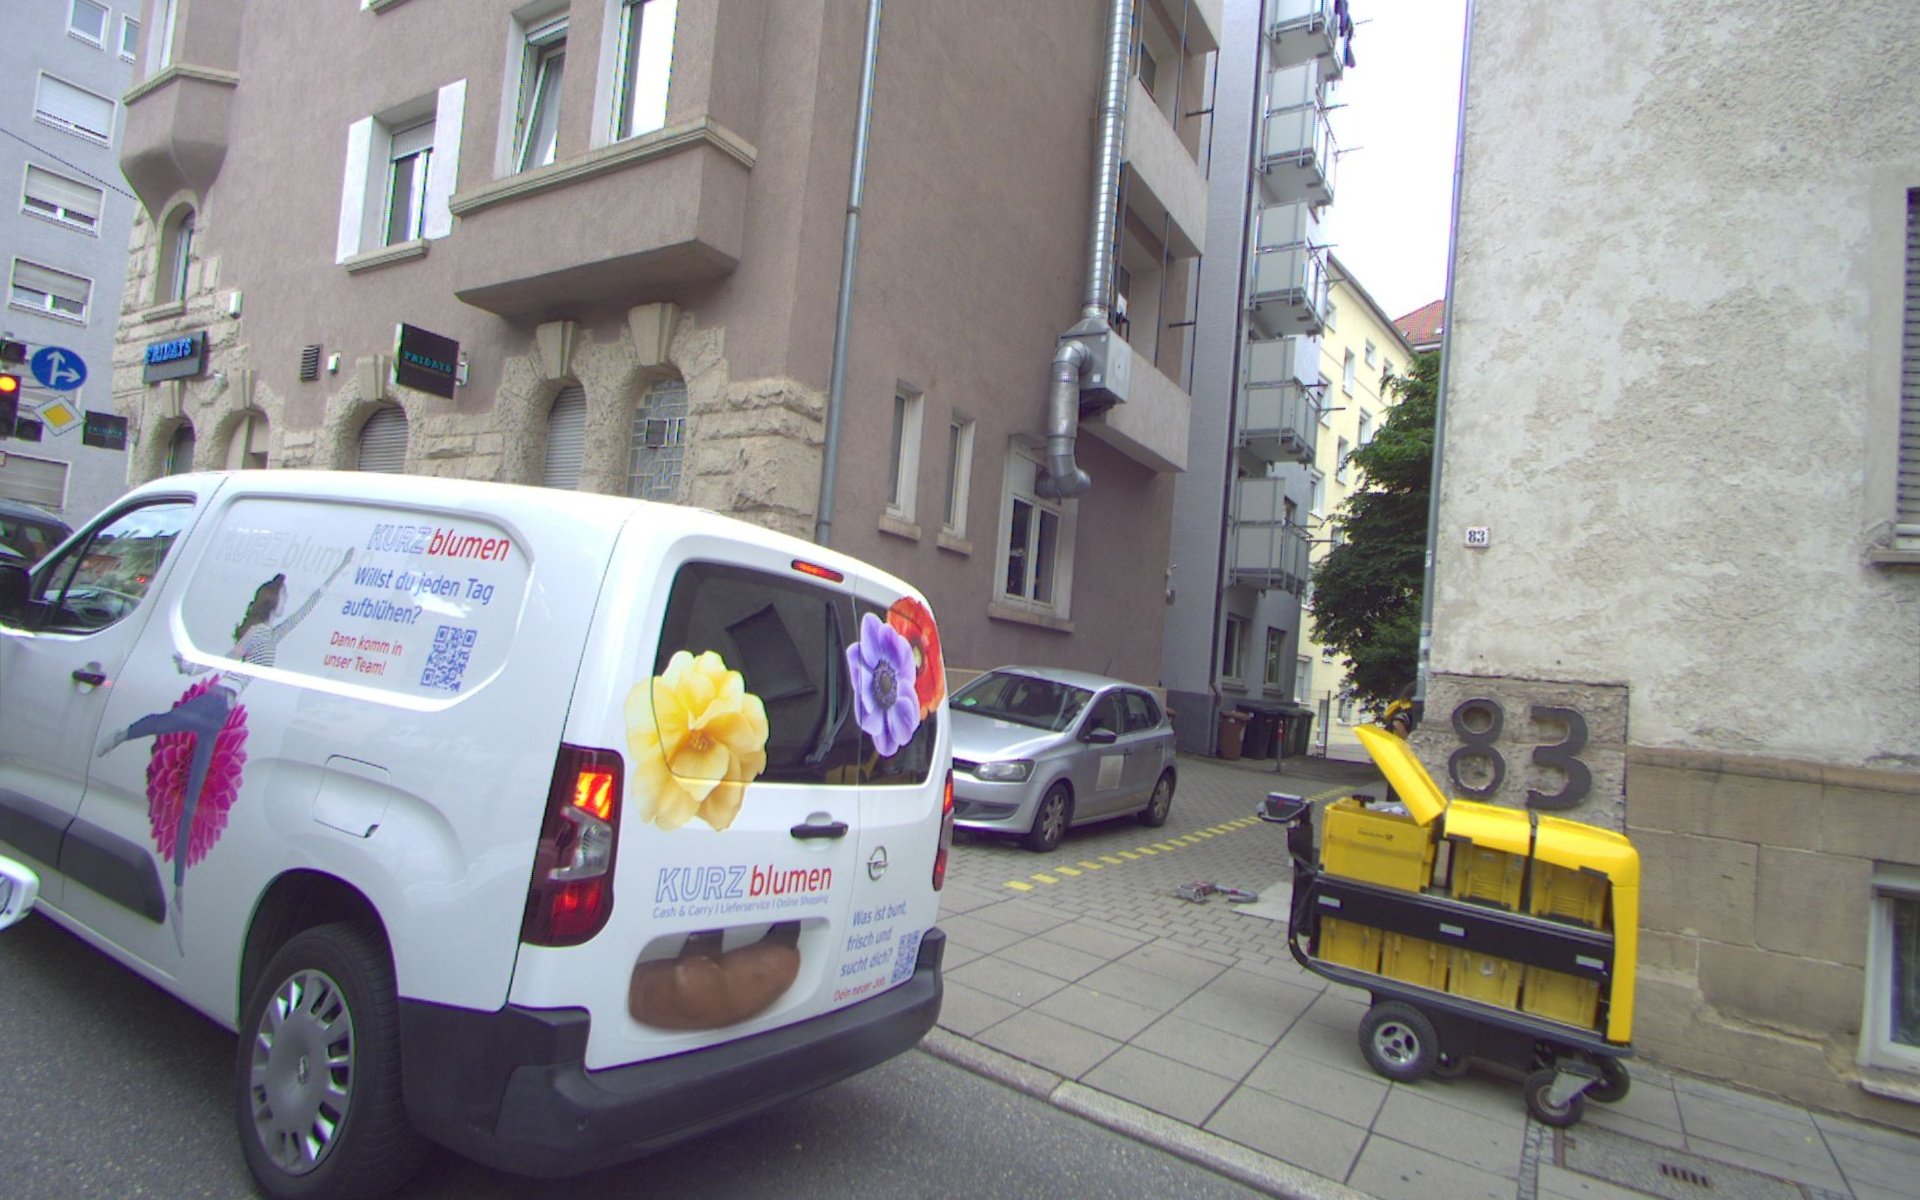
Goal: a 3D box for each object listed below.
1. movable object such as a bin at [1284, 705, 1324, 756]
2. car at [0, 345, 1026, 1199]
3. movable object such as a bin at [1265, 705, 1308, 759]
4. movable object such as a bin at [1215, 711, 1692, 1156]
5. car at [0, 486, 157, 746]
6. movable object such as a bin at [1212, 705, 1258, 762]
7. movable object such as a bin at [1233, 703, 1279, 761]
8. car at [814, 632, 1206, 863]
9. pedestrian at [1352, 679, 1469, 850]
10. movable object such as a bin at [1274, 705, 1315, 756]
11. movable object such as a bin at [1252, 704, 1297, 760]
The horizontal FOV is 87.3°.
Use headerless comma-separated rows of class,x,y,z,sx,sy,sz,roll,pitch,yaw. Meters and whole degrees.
movable object such as a bin,8.128,3.070,23.750,0.644,1.073,0.673,7,-1,31
car,-2.404,0.440,3.942,4.945,1.845,1.852,4,-4,37
movable object such as a bin,7.160,2.880,22.061,0.644,1.073,0.673,7,-1,31
movable object such as a bin,2.137,1.330,4.506,1.665,1.437,0.720,6,-1,31
car,-7.655,-0.092,7.141,3.570,1.609,1.758,6,-5,32
movable object such as a bin,5.339,2.587,19.541,0.626,0.997,0.572,7,-1,31
movable object such as a bin,6.012,2.669,20.429,0.644,1.073,0.572,7,-1,31
car,0.698,1.303,9.425,1.770,1.419,3.995,9,-1,33
pedestrian,4.752,1.720,10.630,0.753,1.680,0.740,5,-3,-25
movable object such as a bin,7.675,2.981,23.061,0.644,1.073,0.673,7,-1,31
movable object such as a bin,6.647,2.779,21.242,0.644,1.073,0.681,7,-1,31
